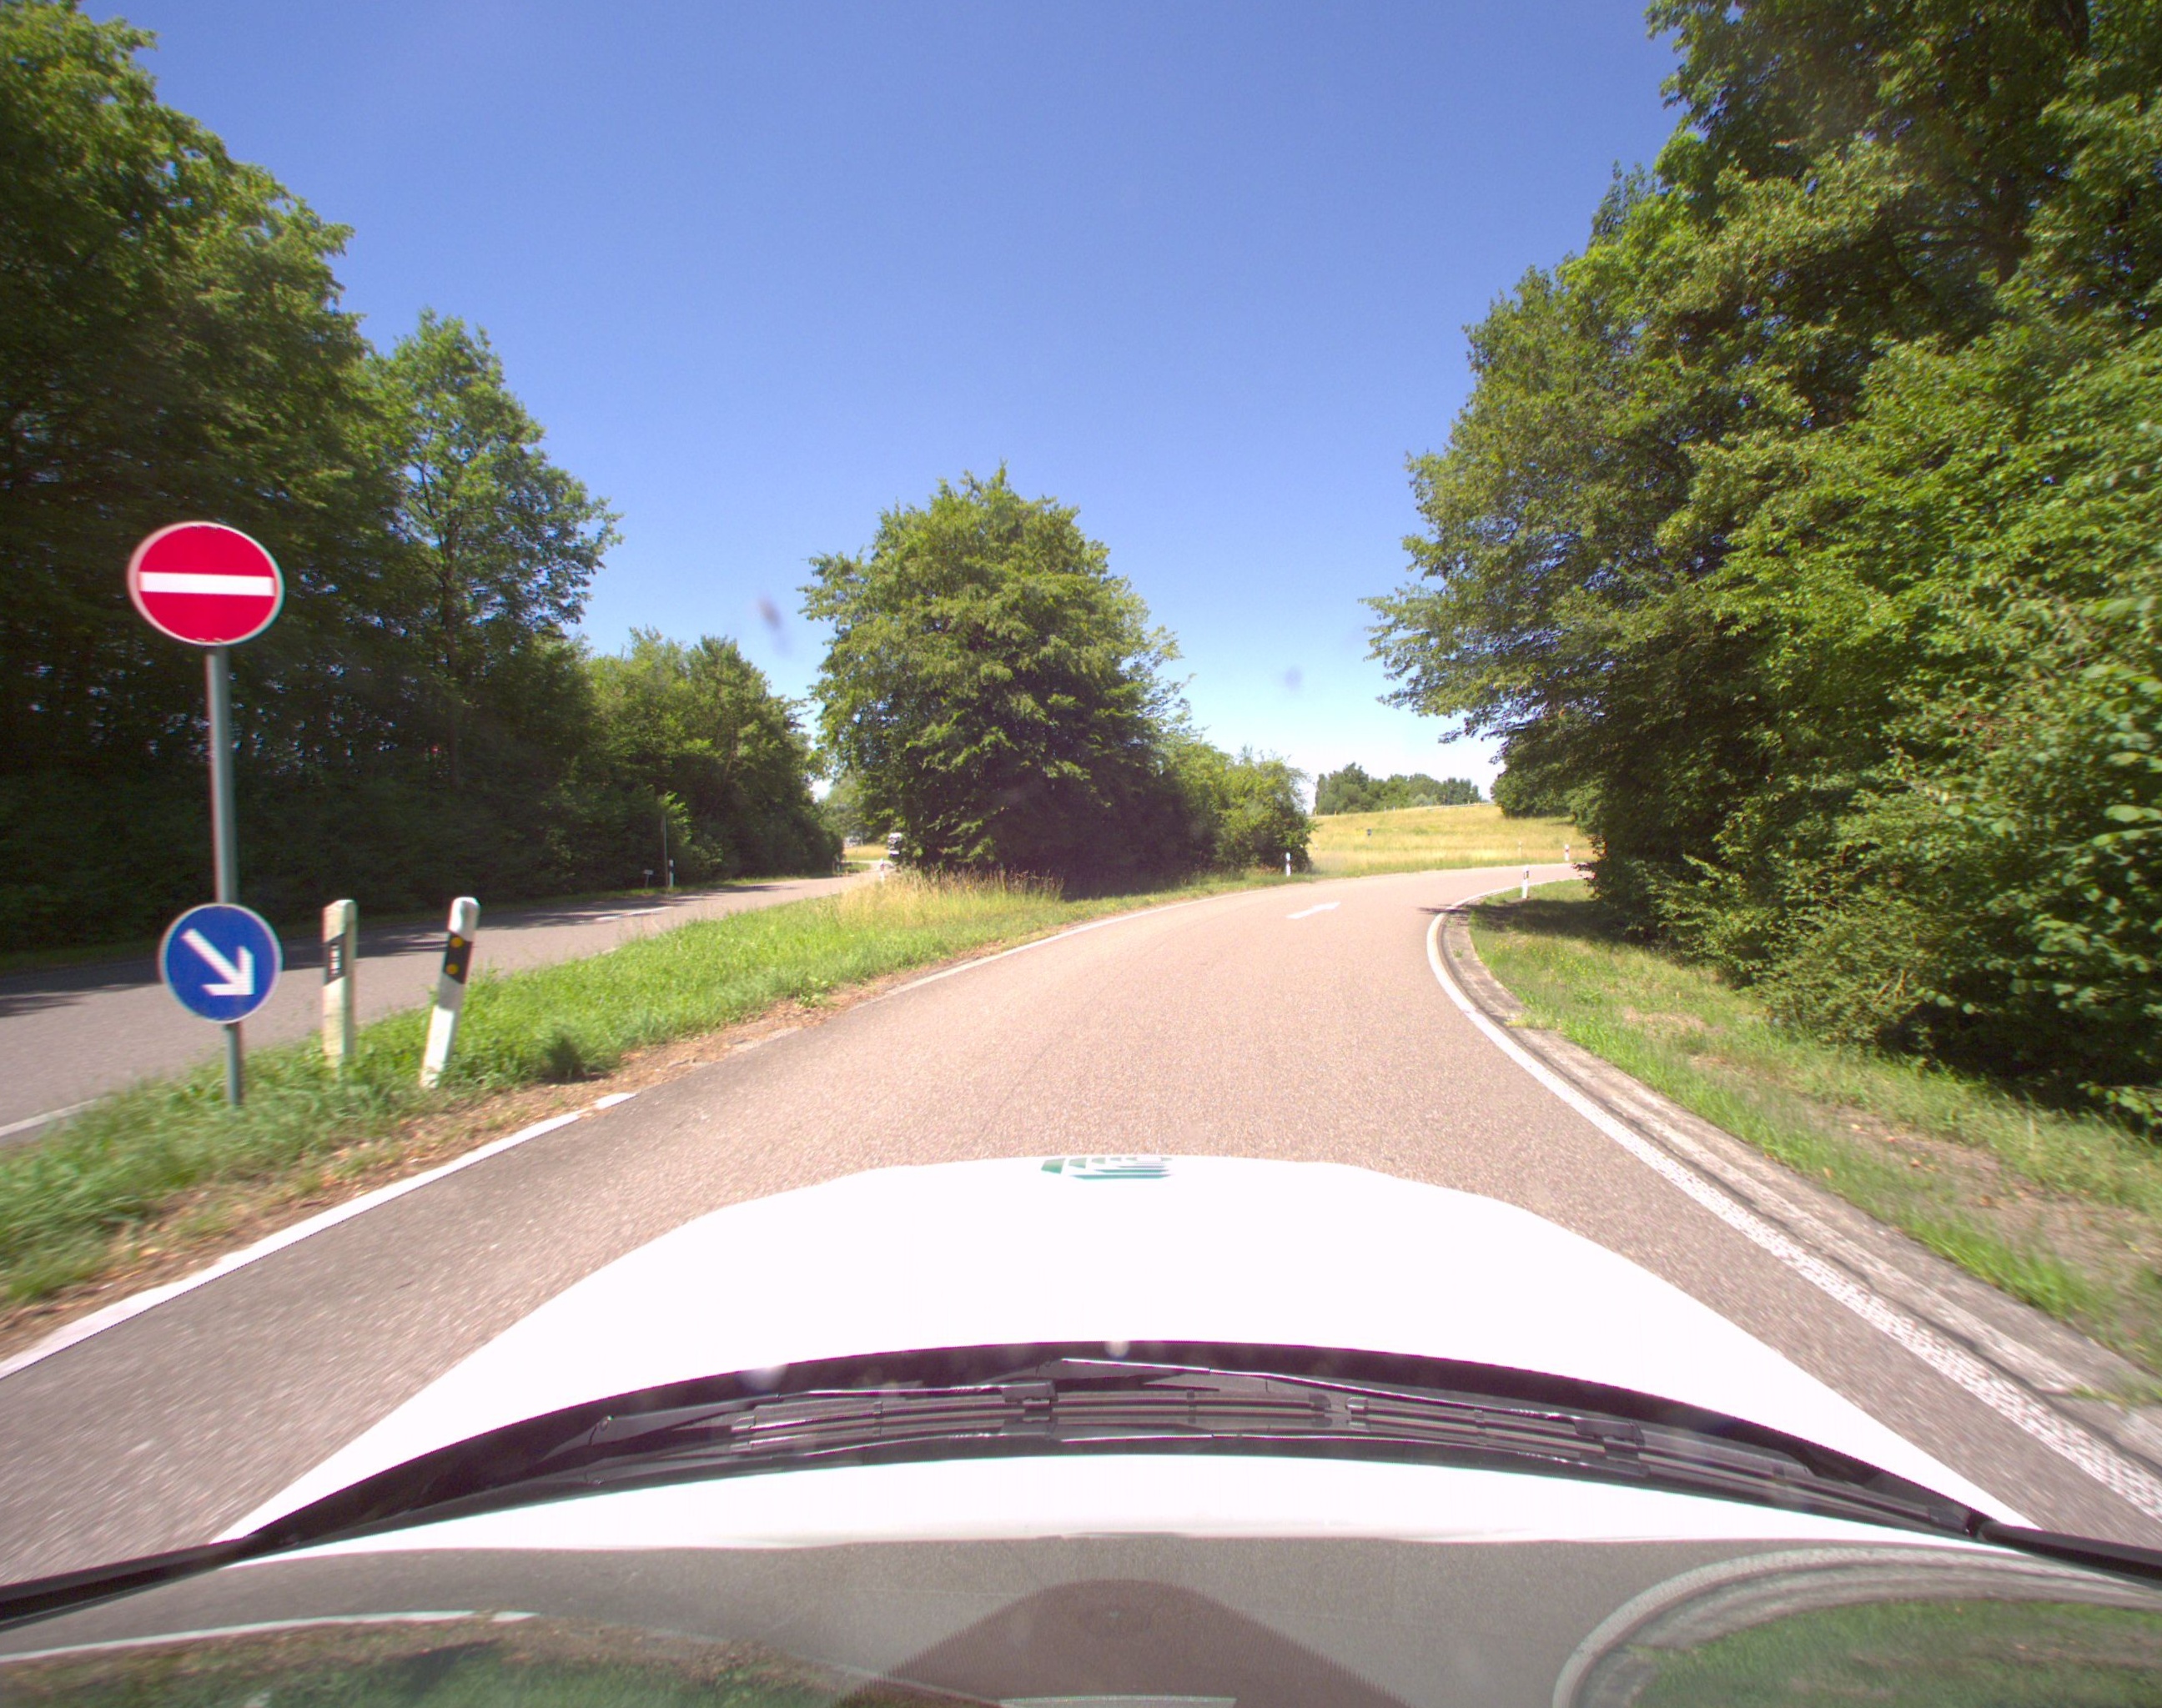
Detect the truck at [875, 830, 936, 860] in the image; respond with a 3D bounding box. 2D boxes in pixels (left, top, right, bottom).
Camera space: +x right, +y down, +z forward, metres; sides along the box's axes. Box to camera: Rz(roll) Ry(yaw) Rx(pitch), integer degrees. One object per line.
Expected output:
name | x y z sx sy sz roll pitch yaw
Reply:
truck | -18.336 -0.926 84.981 5.828 2.984 2.259 -1 1 18
